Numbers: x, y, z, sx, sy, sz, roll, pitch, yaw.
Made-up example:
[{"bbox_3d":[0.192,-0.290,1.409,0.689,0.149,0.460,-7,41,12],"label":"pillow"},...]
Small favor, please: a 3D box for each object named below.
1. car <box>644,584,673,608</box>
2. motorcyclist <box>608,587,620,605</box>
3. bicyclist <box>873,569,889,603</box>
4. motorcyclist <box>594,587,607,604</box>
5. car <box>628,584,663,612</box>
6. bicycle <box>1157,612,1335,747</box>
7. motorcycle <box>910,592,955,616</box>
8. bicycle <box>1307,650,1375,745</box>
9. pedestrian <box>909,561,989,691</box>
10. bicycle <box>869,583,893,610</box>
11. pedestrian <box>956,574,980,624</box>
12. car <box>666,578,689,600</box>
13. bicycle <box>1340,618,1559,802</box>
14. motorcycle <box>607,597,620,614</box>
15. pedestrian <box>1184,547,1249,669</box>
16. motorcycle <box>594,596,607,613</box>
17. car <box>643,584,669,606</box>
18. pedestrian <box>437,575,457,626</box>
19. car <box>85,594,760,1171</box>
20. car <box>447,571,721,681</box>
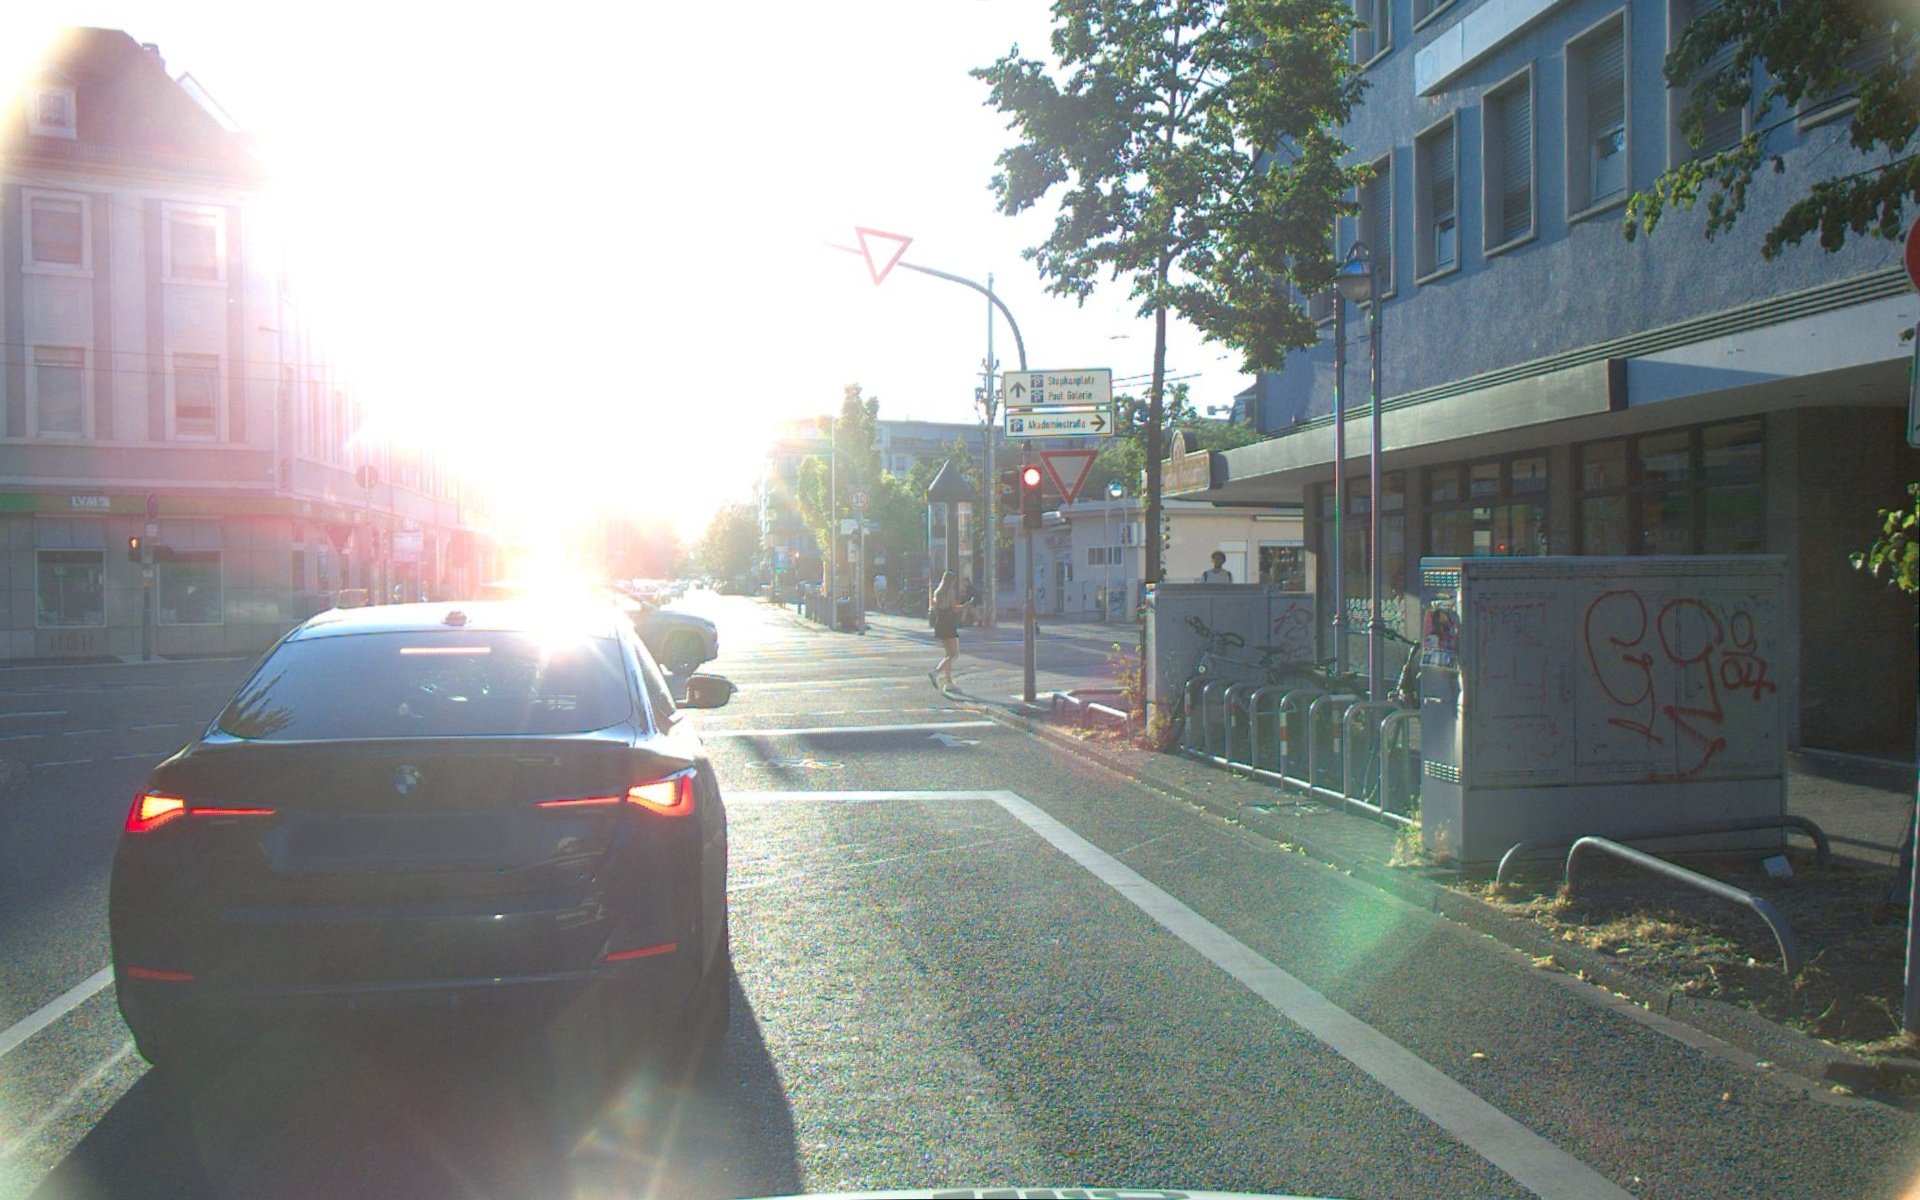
[{"bbox_3d":[-20.523,-0.308,112.692,1.784,1.545,3.992,-1,1,-9],"label":"car"},{"bbox_3d":[-19.534,-0.249,93.355,0.564,1.013,0.701,1,0,-9],"label":"motorcyclist"},{"bbox_3d":[-3.516,-0.629,73.722,0.541,1.507,0.719,1,0,-17],"label":"bicyclist"},{"bbox_3d":[-20.368,-0.266,93.818,0.564,0.931,2.196,1,0,-8],"label":"motorcyclist"},{"bbox_3d":[-17.931,-0.142,94.376,1.784,1.545,3.992,-1,1,-9],"label":"car"},{"bbox_3d":[2.626,0.716,15.180,1.582,1.191,0.318,-1,0,-7],"label":"bicycle"},{"bbox_3d":[-1.139,0.155,67.818,1.644,0.955,0.851,-1,1,-20],"label":"motorcycle"},{"bbox_3d":[3.537,0.891,15.400,0.244,0.810,1.114,1,0,-7],"label":"bicycle"},{"bbox_3d":[-0.168,0.376,24.838,0.990,1.893,0.634,-2,1,-29],"label":"pedestrian"},{"bbox_3d":[-3.515,-0.146,73.706,0.541,1.179,2.134,1,0,-17],"label":"bicycle"},{"bbox_3d":[0.266,-0.033,53.098,0.718,1.555,0.472,1,0,-3],"label":"pedestrian"},{"bbox_3d":[-25.051,-0.989,146.655,1.738,1.881,3.994,-1,1,-7],"label":"car"},{"bbox_3d":[3.400,0.762,11.513,1.413,1.241,0.383,1,0,-8],"label":"bicycle"},{"bbox_3d":[-19.563,0.291,93.453,0.564,0.931,2.196,1,0,-8],"label":"motorcycle"},{"bbox_3d":[4.044,0.117,26.081,0.820,1.874,0.677,-1,0,-9],"label":"pedestrian"},{"bbox_3d":[-20.377,0.275,93.832,0.564,0.931,2.196,1,0,-8],"label":"motorcycle"},{"bbox_3d":[-22.573,-0.399,122.944,1.784,1.545,3.992,-1,1,-9],"label":"car"},{"bbox_3d":[-19.631,0.023,63.308,0.631,1.909,0.630,1,0,-9],"label":"pedestrian"},{"bbox_3d":[-1.743,0.715,6.453,1.705,1.453,4.214,0,0,-10],"label":"car"},{"bbox_3d":[-6.394,0.378,28.319,4.242,1.737,1.784,-1,1,-35],"label":"car"}]
